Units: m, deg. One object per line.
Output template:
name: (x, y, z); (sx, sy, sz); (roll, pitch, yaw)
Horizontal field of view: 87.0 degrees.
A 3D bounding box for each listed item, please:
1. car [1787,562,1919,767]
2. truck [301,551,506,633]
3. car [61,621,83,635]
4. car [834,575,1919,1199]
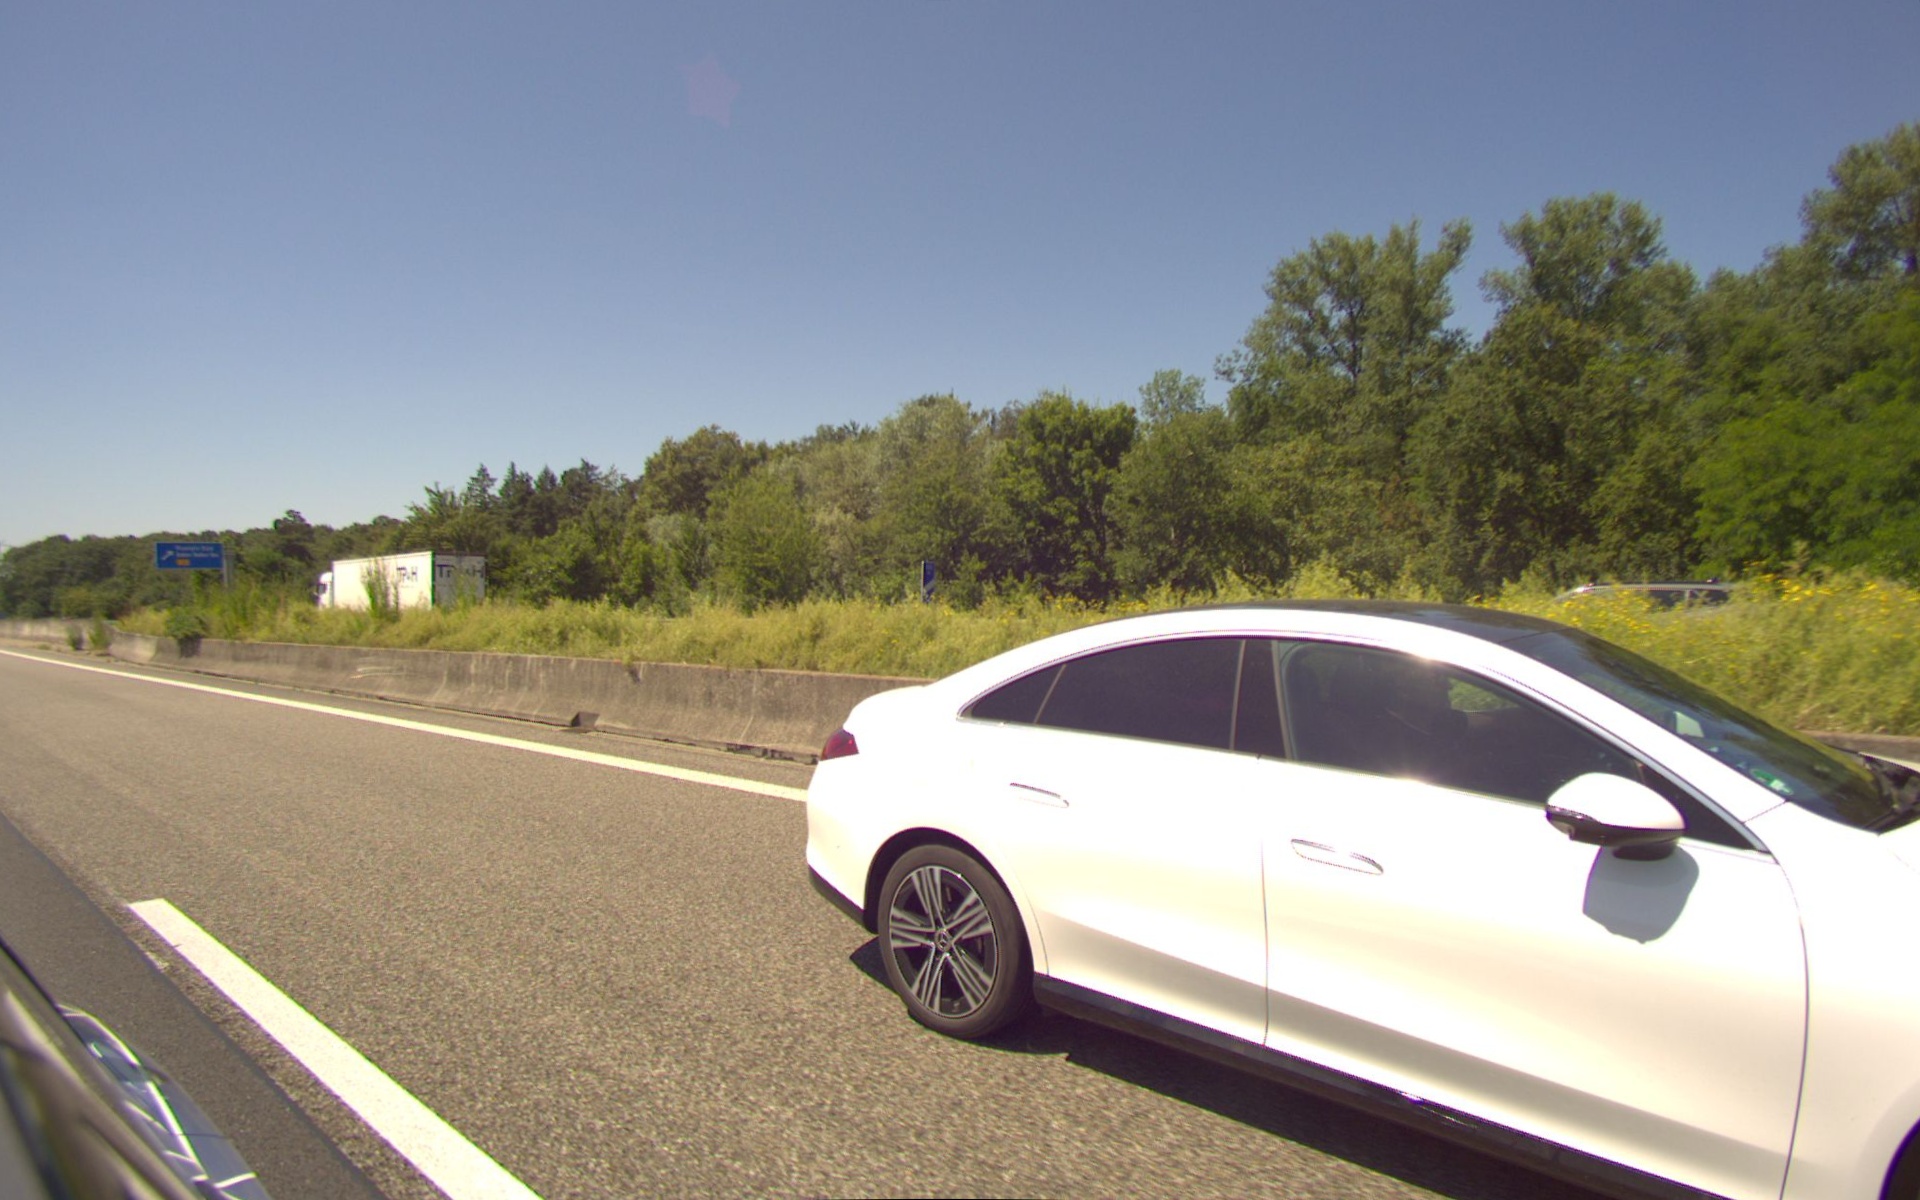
car: (10.892, 0.621, 10.124); (3.998, 2.029, 1.973); (-1, 0, 41)
truck: (-30.009, -0.245, 53.748); (17.472, 3.763, 3.562); (-1, 0, 40)
car: (-131.496, 4.103, 149.861); (4.429, 2.029, 1.972); (-2, 0, 43)
car: (2.026, 0.683, 2.652); (5.107, 1.459, 1.748); (-2, -1, 42)
